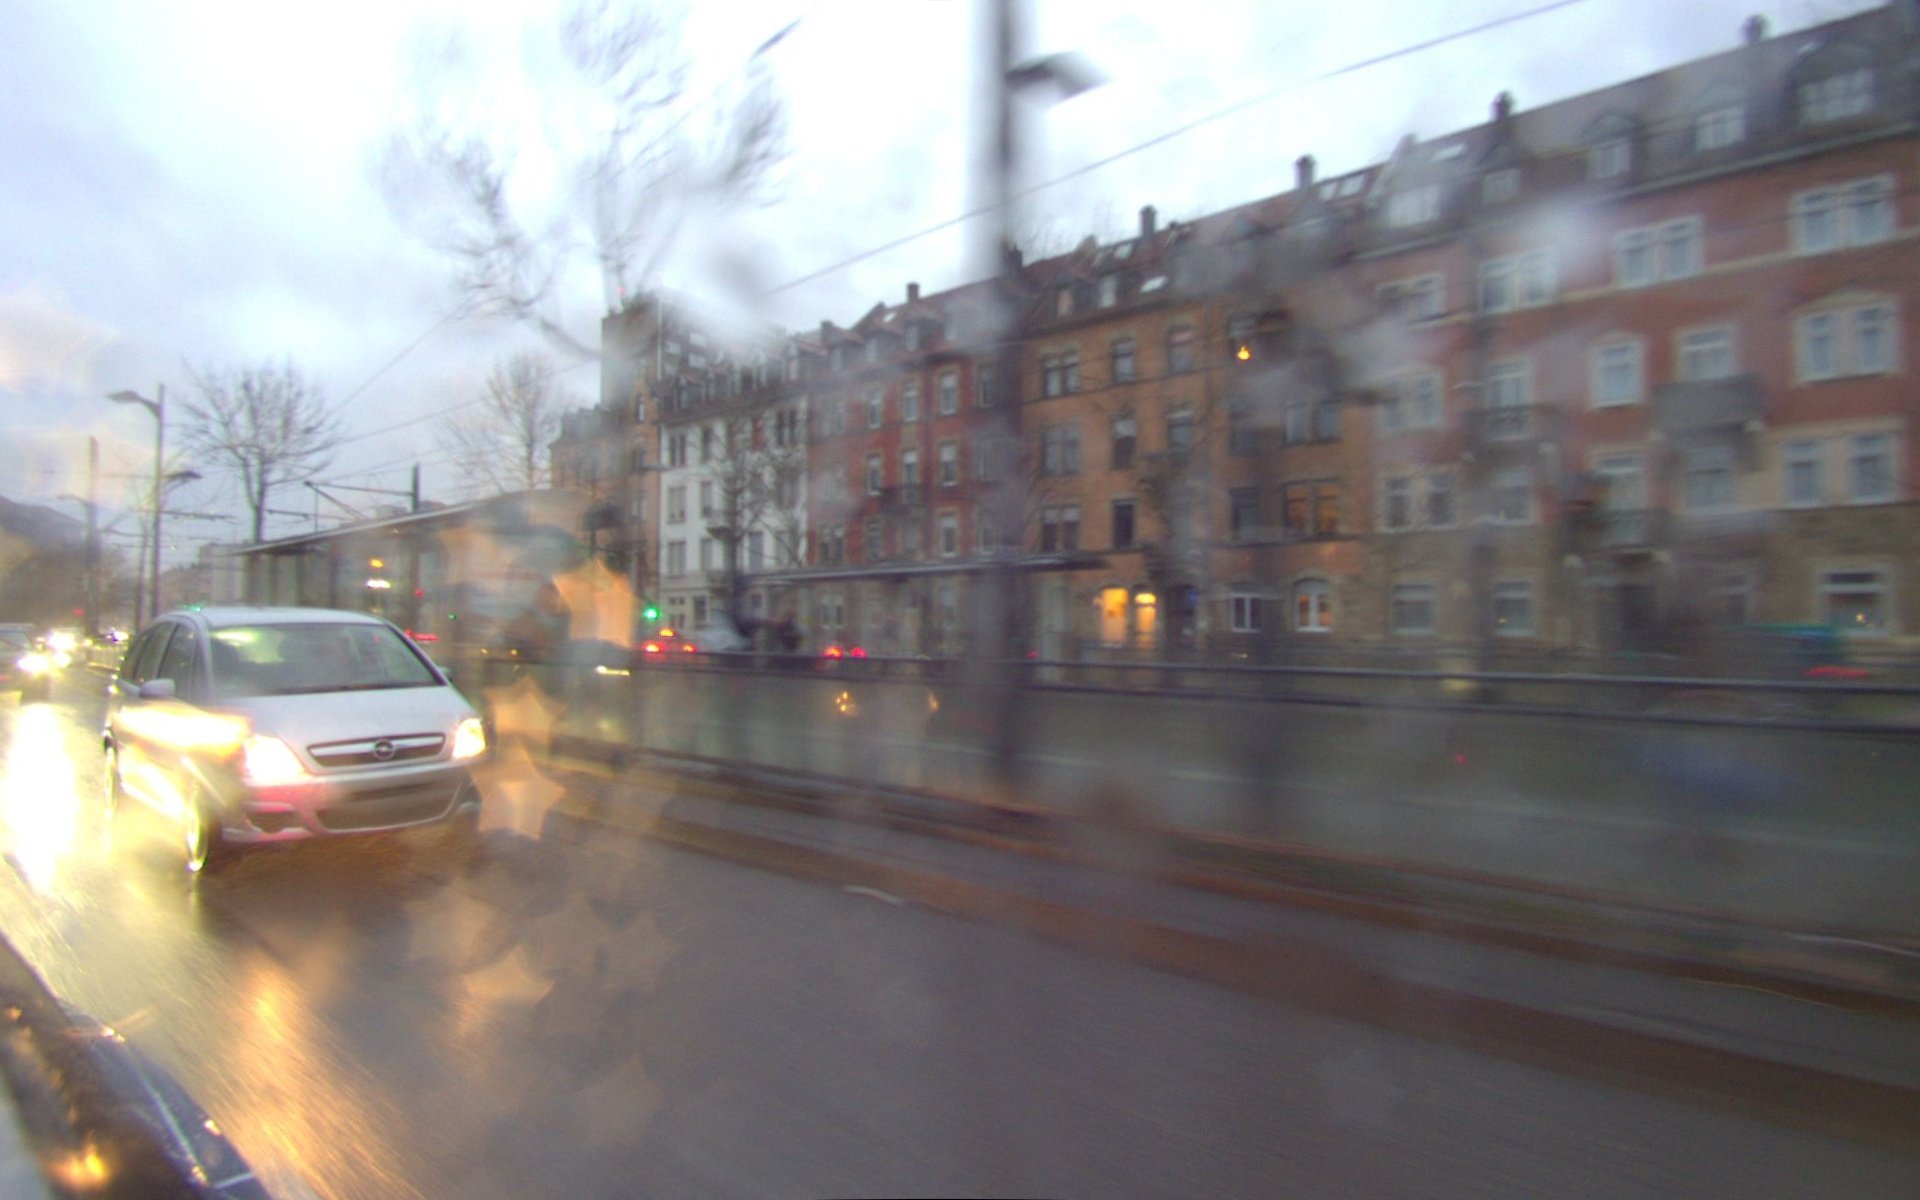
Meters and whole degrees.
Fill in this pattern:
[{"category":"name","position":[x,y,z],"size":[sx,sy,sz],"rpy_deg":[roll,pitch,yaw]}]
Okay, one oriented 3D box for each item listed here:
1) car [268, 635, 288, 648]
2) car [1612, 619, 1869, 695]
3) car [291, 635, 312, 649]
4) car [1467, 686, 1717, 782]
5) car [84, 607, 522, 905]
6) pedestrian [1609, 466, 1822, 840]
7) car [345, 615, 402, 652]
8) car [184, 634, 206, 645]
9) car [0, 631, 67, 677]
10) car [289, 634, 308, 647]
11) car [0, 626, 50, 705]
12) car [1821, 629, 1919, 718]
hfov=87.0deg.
[{"category":"car","position":[-85.264,5.188,126.536],"size":[1.967,1.657,4.010],"rpy_deg":[3,-3,-35]},{"category":"car","position":[17.620,1.226,22.998],"size":[4.466,1.548,1.821],"rpy_deg":[-1,-1,42]},{"category":"car","position":[-77.310,4.949,118.802],"size":[1.967,1.657,4.010],"rpy_deg":[3,-3,-35]},{"category":"car","position":[12.778,2.629,20.601],"size":[4.000,1.564,1.971],"rpy_deg":[-2,-4,43]},{"category":"car","position":[-4.906,0.889,7.314],"size":[4.108,1.560,1.628],"rpy_deg":[-2,-3,42]},{"category":"pedestrian","position":[3.635,0.235,4.893],"size":[0.746,1.618,0.703],"rpy_deg":[-1,-1,38]},{"category":"car","position":[-37.760,2.177,65.082],"size":[1.970,2.327,5.271],"rpy_deg":[3,-4,-43]},{"category":"car","position":[-107.257,5.505,141.939],"size":[3.848,1.461,1.627],"rpy_deg":[-2,-2,40]},{"category":"car","position":[-37.283,2.141,40.223],"size":[1.789,1.756,4.199],"rpy_deg":[2,-3,-30]},{"category":"car","position":[-87.486,5.345,133.886],"size":[1.967,1.657,4.010],"rpy_deg":[3,-3,-35]},{"category":"car","position":[-20.380,1.333,21.147],"size":[4.001,1.556,1.728],"rpy_deg":[-2,-4,45]},{"category":"car","position":[16.915,1.213,16.714],"size":[4.000,1.453,1.971],"rpy_deg":[-2,-4,43]}]
